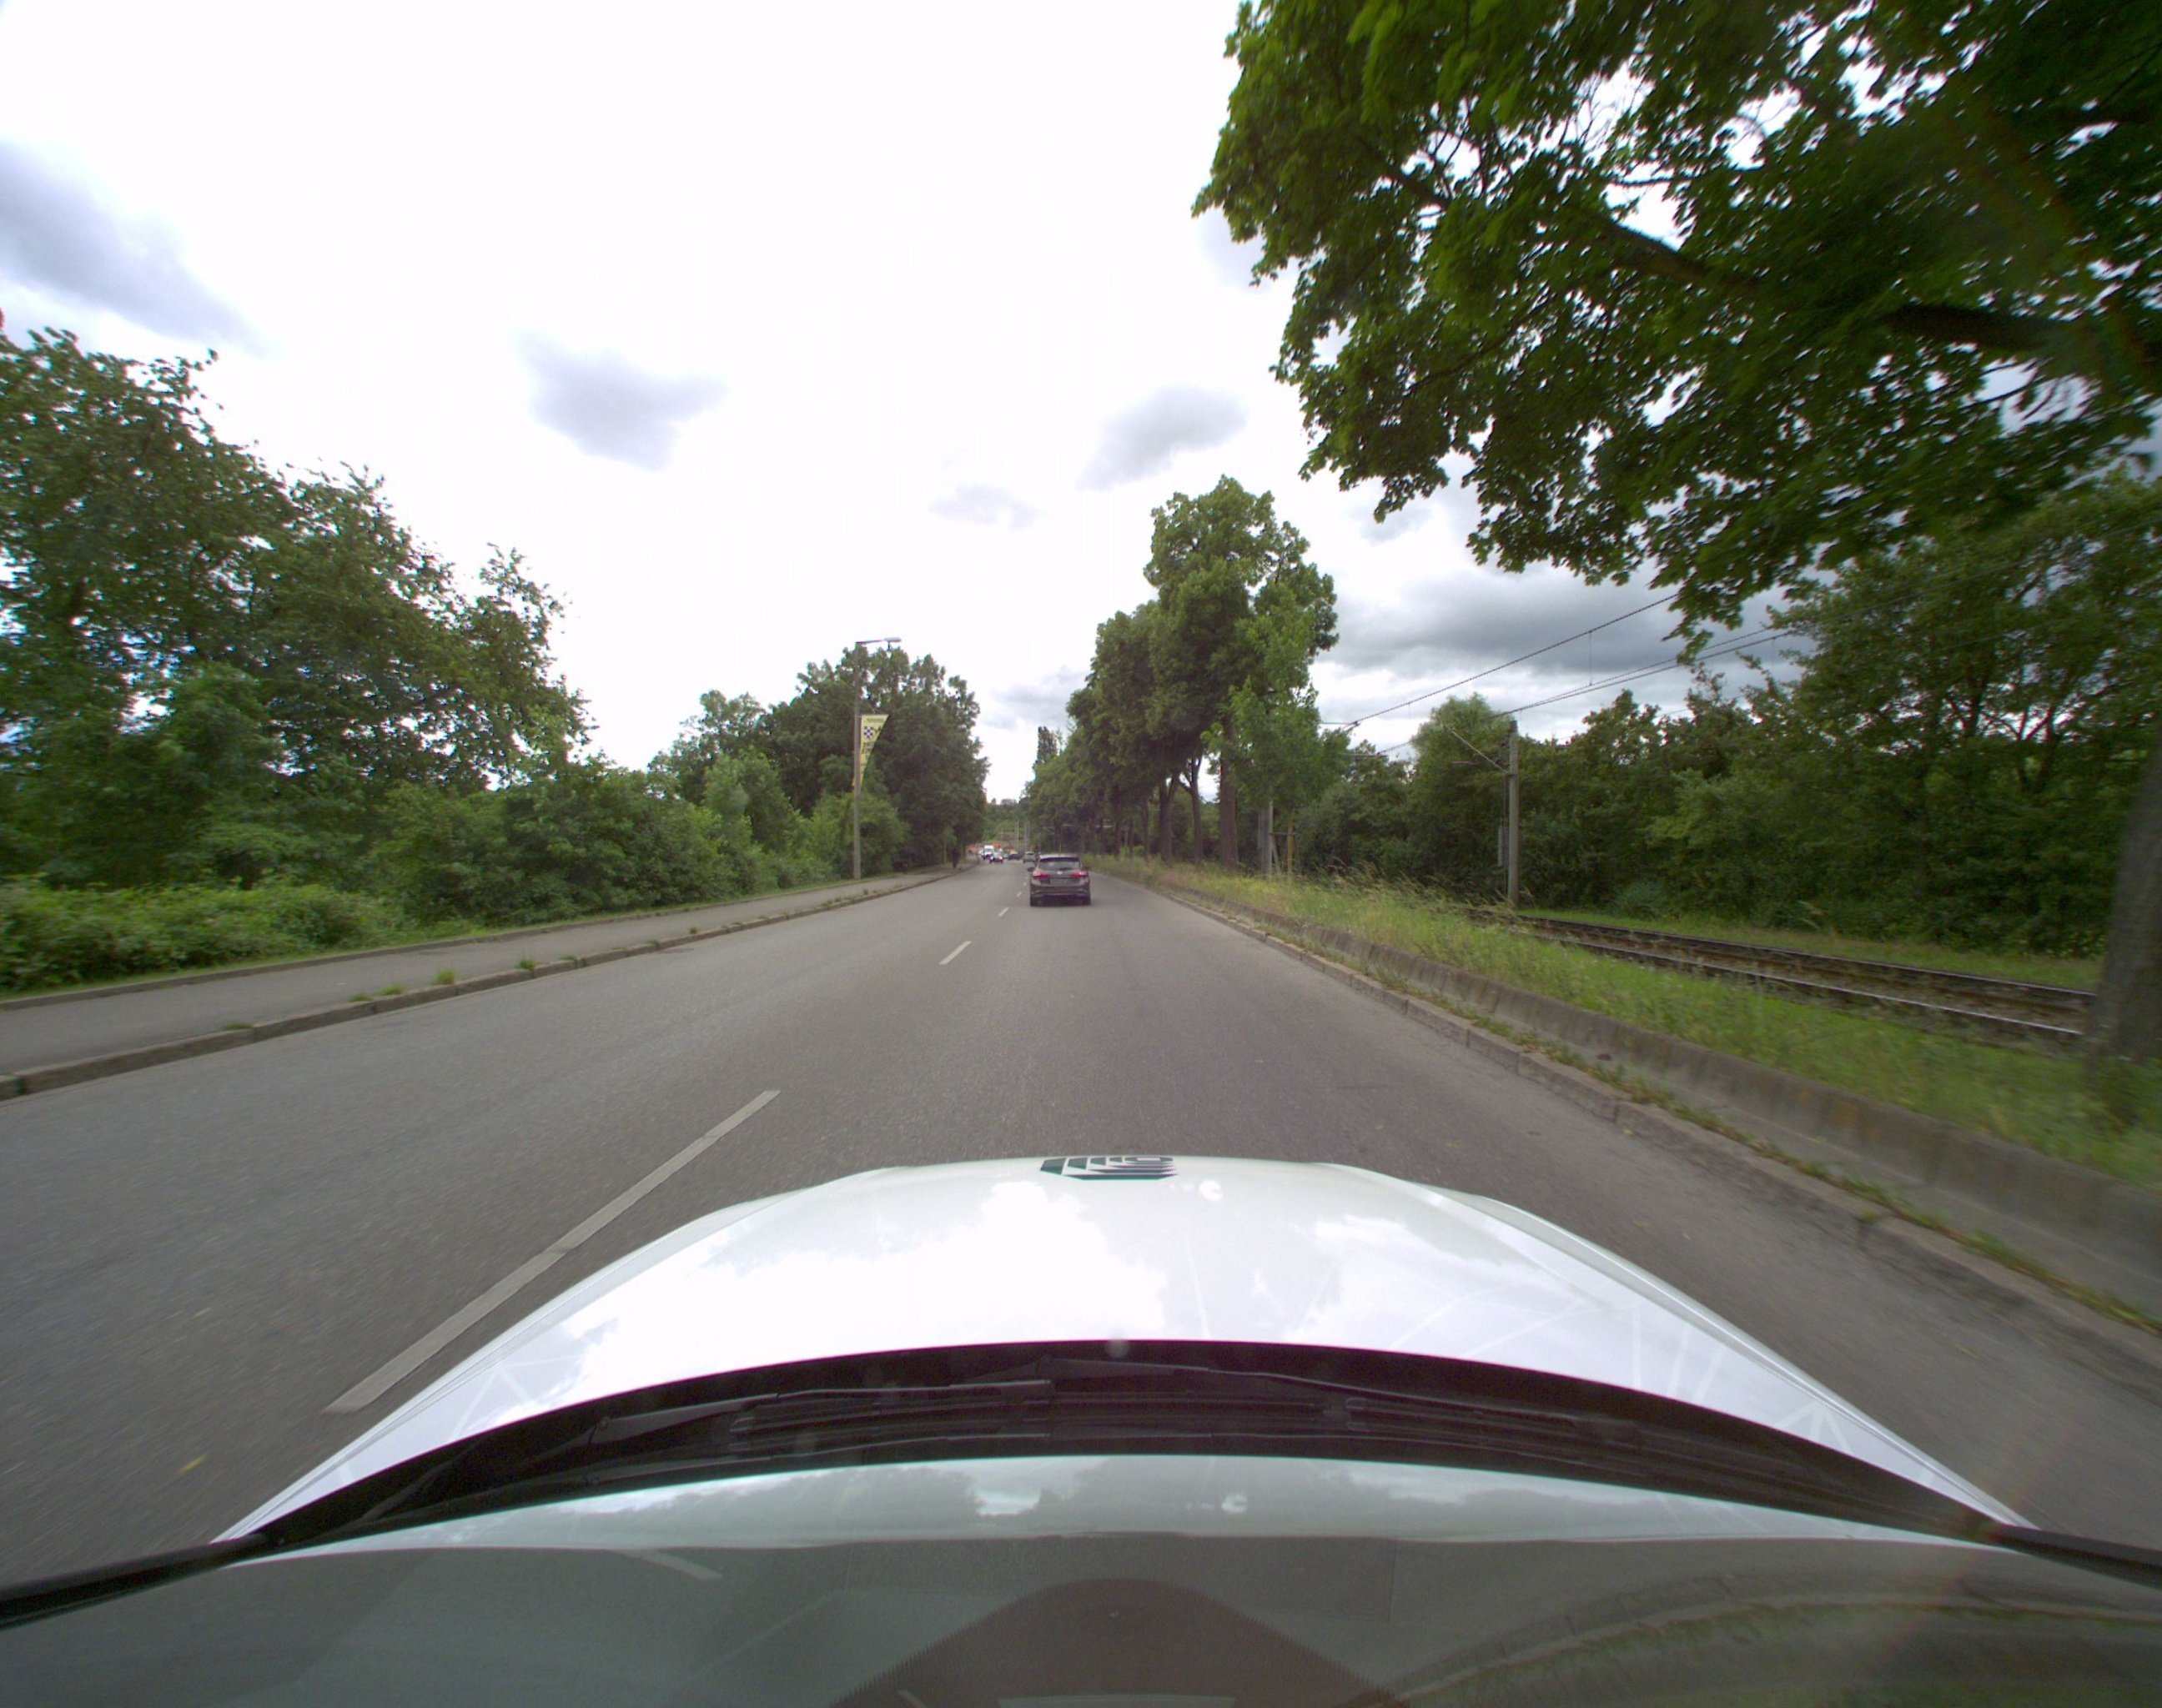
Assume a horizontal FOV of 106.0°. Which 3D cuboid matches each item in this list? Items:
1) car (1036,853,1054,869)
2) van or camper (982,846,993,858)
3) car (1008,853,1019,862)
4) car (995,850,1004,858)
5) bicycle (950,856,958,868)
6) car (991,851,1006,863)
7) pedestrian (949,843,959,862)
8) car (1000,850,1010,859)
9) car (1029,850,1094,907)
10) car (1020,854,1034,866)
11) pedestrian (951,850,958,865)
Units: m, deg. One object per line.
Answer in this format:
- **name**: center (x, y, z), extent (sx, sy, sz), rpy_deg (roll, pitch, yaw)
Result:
- **car**: center (-3.728, 0.698, 85.049), extent (1.771, 1.472, 3.999), rpy_deg (2, 1, -1)
- **van or camper**: center (-16.979, -0.404, 147.686), extent (1.923, 2.151, 3.923), rpy_deg (2, 1, -7)
- **car**: center (-11.559, 0.602, 140.069), extent (1.772, 1.472, 3.995), rpy_deg (2, 1, -4)
- **car**: center (-17.644, -0.045, 177.034), extent (1.772, 1.472, 3.995), rpy_deg (2, 1, -4)
- **bicycle**: center (-10.872, 0.673, 69.620), extent (0.486, 1.030, 1.124), rpy_deg (2, 1, -2)
- **car**: center (-11.001, 0.400, 108.459), extent (1.745, 1.464, 3.915), rpy_deg (1, 0, -4)
- **pedestrian**: center (-10.843, -0.100, 69.593), extent (0.616, 1.571, 0.849), rpy_deg (2, 1, -2)
- **car**: center (-14.303, 0.060, 154.181), extent (1.772, 1.472, 3.995), rpy_deg (1, 1, -4)
- **car**: center (-0.628, 0.678, 25.032), extent (1.811, 1.508, 3.997), rpy_deg (-1, 1, -2)
- **car**: center (-7.466, 0.852, 112.680), extent (1.772, 1.472, 3.995), rpy_deg (2, 1, -4)
- **pedestrian**: center (-14.143, 0.427, 91.191), extent (0.694, 1.621, 0.684), rpy_deg (2, 1, -3)
